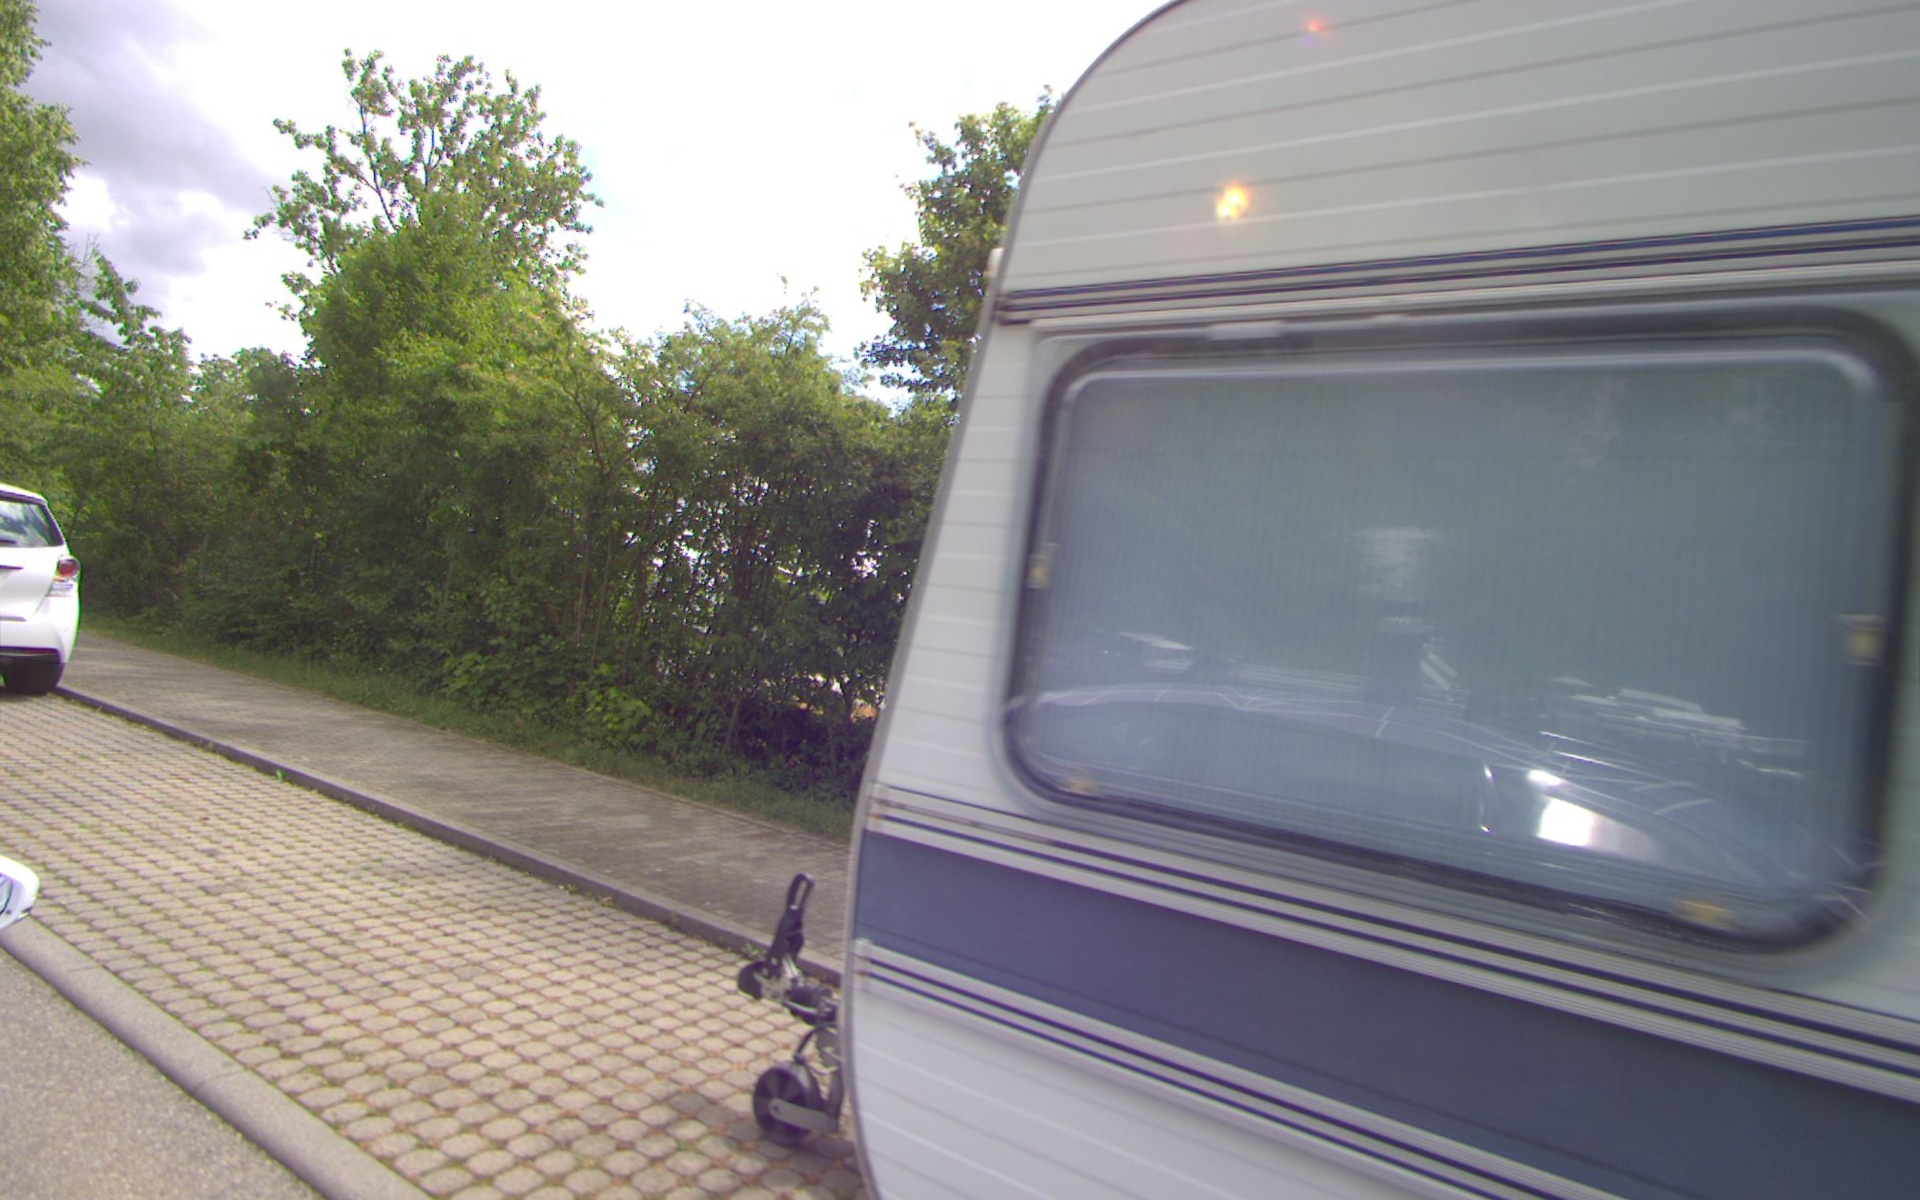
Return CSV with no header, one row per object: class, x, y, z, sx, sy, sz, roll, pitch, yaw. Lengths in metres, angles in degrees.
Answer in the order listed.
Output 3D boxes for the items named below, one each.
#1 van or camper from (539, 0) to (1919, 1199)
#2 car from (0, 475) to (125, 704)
van or camper,2.146,0.510,1.321,4.989,2.583,2.360,6,-2,31
car,-8.796,-0.324,7.966,4.297,1.618,1.809,7,-2,29
